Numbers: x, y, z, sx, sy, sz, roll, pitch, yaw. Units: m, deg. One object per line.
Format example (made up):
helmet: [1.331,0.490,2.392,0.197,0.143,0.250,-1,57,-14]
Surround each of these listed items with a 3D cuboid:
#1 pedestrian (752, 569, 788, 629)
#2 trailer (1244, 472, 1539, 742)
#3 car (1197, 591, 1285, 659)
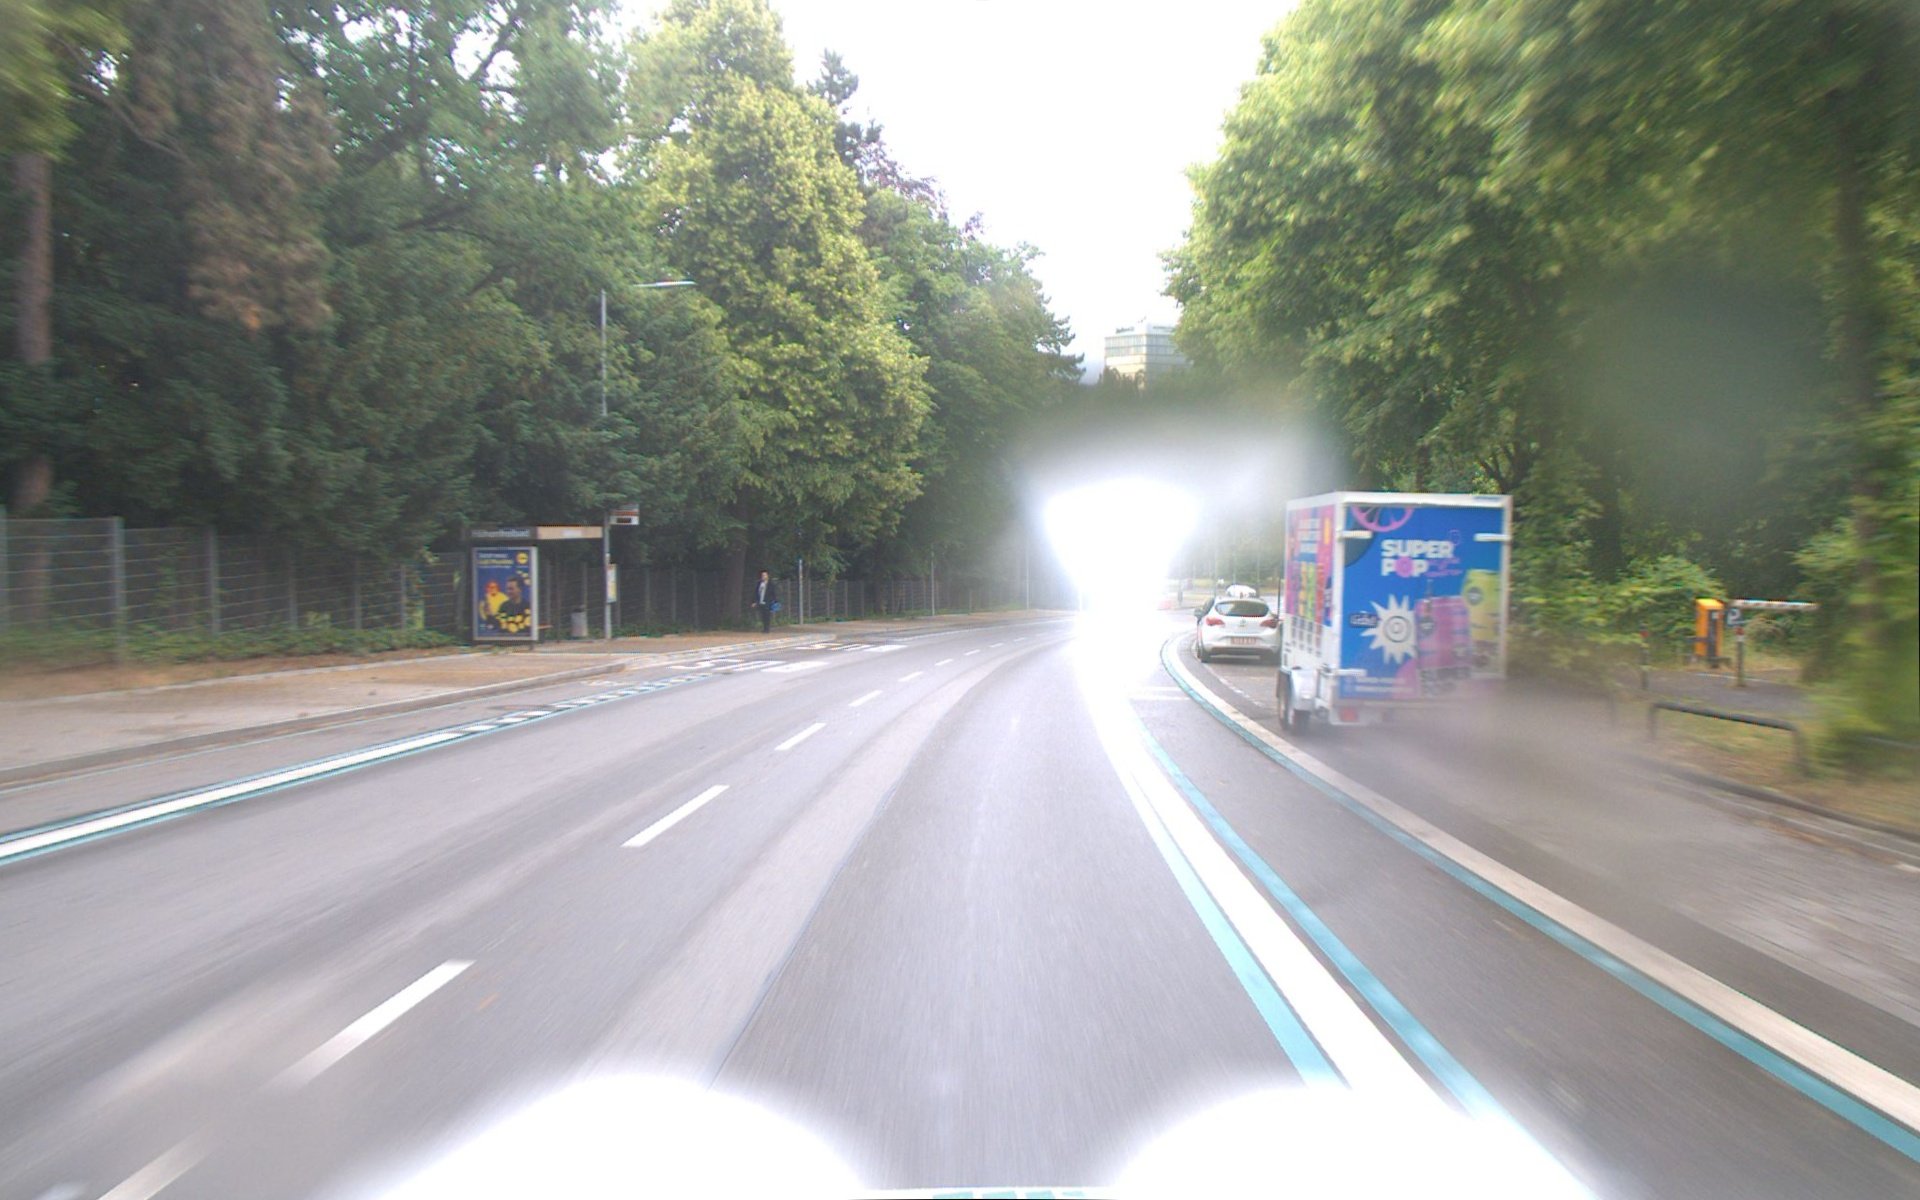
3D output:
pedestrian: [-5.673,-0.024,49.375,0.868,1.763,1.146,1,0,3]
trailer: [4.849,0.054,19.514,2.268,2.718,5.378,1,0,2]
car: [6.539,0.560,38.880,1.820,1.453,4.653,1,0,7]
